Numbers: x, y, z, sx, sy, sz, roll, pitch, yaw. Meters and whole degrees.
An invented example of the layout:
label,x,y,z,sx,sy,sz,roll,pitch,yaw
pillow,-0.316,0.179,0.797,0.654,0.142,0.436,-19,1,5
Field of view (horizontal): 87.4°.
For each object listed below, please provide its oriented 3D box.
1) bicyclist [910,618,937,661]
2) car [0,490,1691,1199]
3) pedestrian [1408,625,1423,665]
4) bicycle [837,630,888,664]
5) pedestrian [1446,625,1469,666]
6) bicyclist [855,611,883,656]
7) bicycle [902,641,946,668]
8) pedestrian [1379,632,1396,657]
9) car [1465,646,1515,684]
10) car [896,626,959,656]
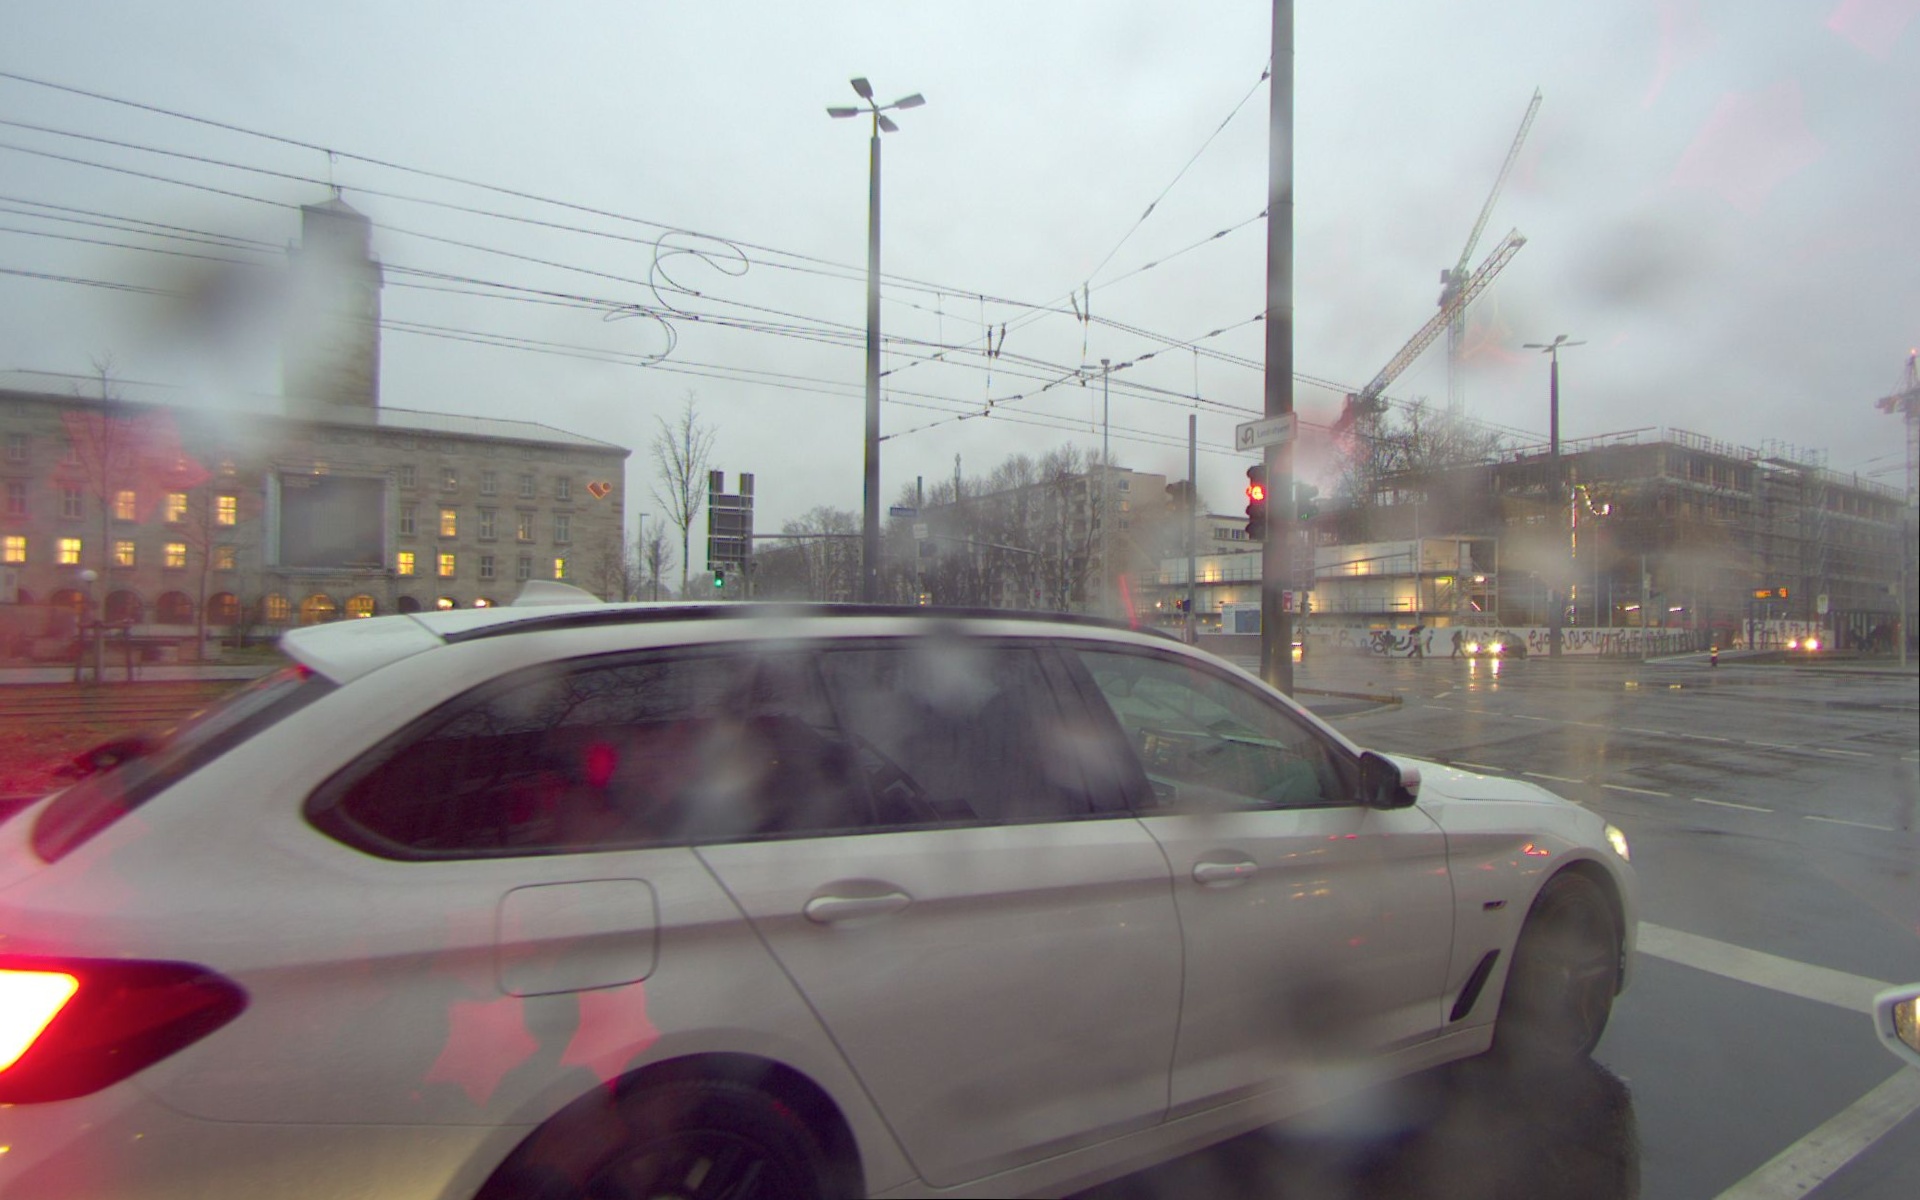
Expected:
label,x,y,z,sx,sy,sz,roll,pitch,yaw
bicyclist,-1.489,1.616,40.815,0.612,1.719,1.026,2,-2,-36
car,0.035,0.702,3.094,4.868,1.540,1.900,2,-2,-32
pedestrian,23.560,2.314,51.979,0.635,2.040,0.503,4,-4,-40
bicycle,-4.076,1.941,41.916,0.714,1.380,2.809,2,-3,-38
pedestrian,25.406,2.317,51.297,0.741,2.040,0.785,2,-2,-40
bicyclist,-3.748,1.383,41.477,0.715,1.863,0.986,2,-2,-39
bicycle,-1.478,2.195,40.767,0.612,1.046,2.356,2,-2,-36
pedestrian,26.475,2.776,62.247,0.780,1.549,0.647,1,-2,3
car,31.205,3.789,59.072,1.736,2.040,3.980,-1,-2,41
car,-1.953,2.409,59.427,1.978,1.706,3.965,1,-2,-33
